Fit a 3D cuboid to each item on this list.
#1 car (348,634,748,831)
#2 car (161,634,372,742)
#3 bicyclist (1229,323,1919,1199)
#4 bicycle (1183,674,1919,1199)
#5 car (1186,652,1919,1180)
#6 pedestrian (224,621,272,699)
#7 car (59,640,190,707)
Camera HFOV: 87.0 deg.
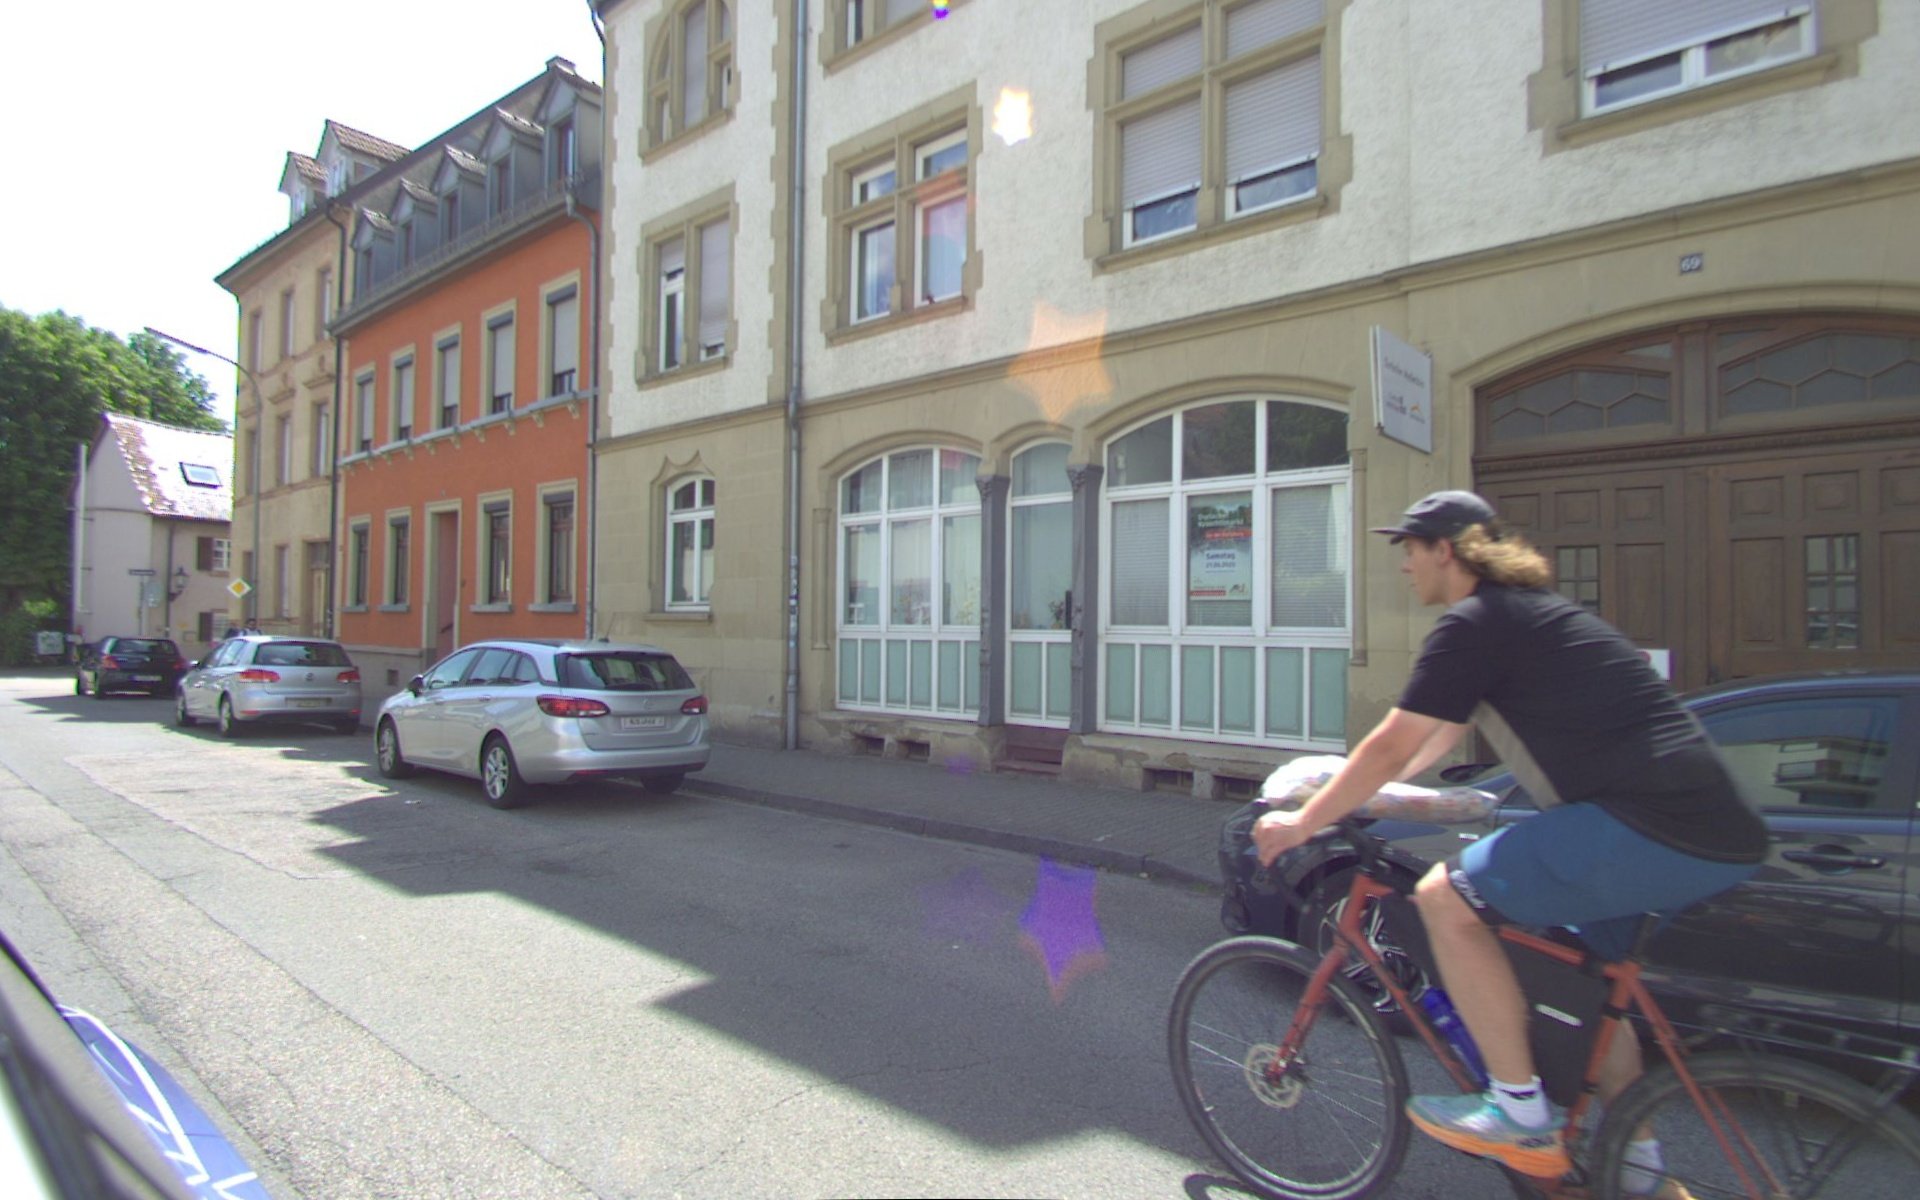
[{"bbox_3d":[-4.208,1.111,9.998,4.379,1.522,1.858,-2,-3,41],"label":"car"},{"bbox_3d":[-10.836,1.304,15.733,3.850,1.470,1.693,-2,-5,40],"label":"car"},{"bbox_3d":[1.279,0.478,2.206,0.633,1.776,1.168,5,-5,-42],"label":"bicyclist"},{"bbox_3d":[1.344,0.830,2.142,0.225,1.285,1.885,6,-6,-43],"label":"bicycle"},{"bbox_3d":[3.164,0.937,3.669,4.214,1.449,1.853,-2,-3,40],"label":"car"},{"bbox_3d":[-16.913,1.410,24.045,0.763,1.784,0.760,-2,-2,40],"label":"pedestrian"},{"bbox_3d":[-19.980,1.694,24.165,3.854,1.453,1.710,-2,-3,40],"label":"car"}]
